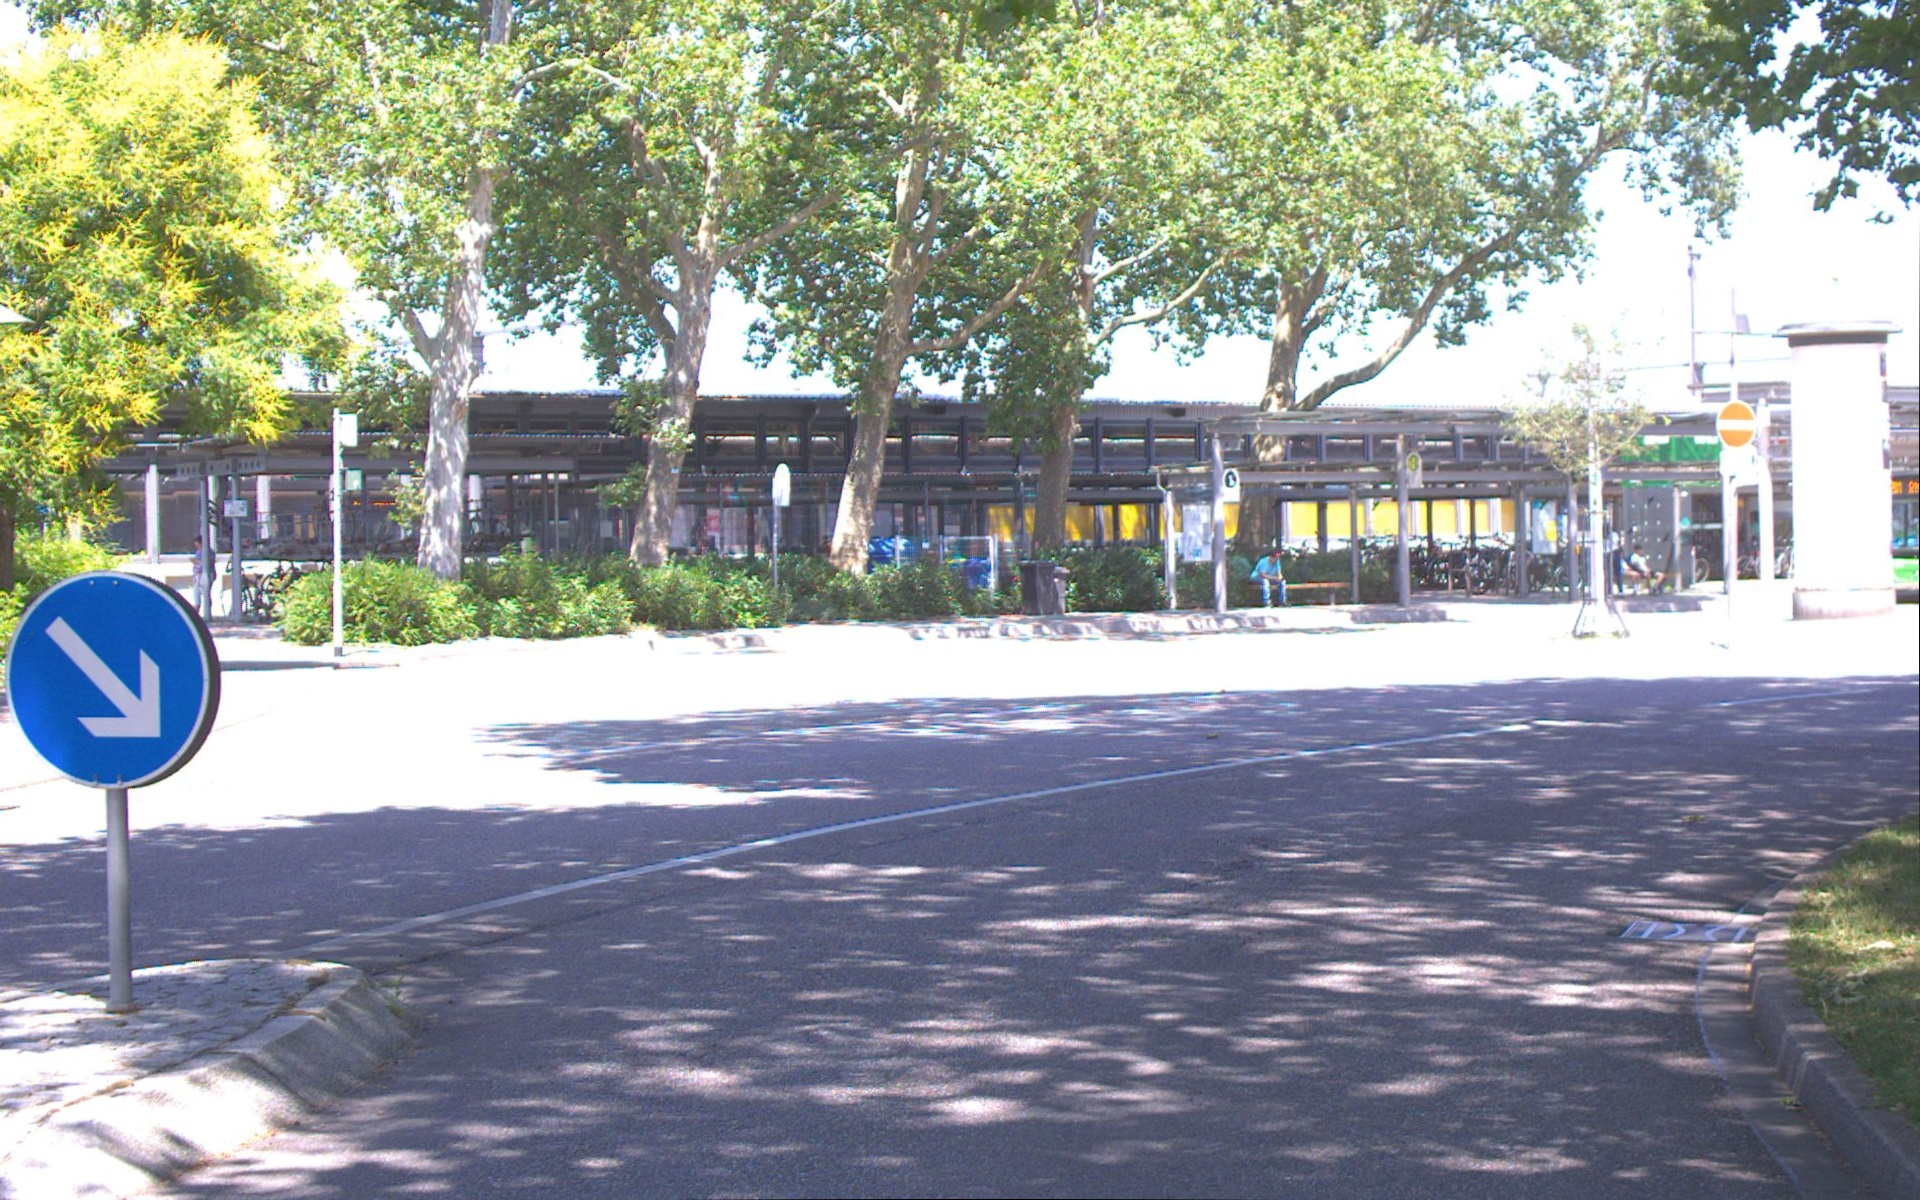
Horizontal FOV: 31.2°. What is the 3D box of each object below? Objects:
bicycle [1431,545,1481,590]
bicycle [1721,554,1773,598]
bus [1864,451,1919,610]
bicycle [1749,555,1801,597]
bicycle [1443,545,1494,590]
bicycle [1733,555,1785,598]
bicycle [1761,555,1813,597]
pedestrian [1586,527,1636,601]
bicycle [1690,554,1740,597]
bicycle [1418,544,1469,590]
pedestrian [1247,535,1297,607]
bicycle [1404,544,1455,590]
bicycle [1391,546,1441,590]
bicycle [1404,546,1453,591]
[{"bbox_3d":[12.154,-0.797,84.251,0.385,1.090,1.385,1,-1,-34],"label":"bicycle"},{"bbox_3d":[20.164,-0.613,88.091,0.366,1.096,1.405,-2,1,-34],"label":"bicycle"},{"bbox_3d":[25.901,-1.671,80.015,12.185,3.514,2.169,-2,1,-36],"label":"bus"},{"bbox_3d":[21.036,-0.618,88.703,0.385,1.090,1.385,-2,1,-34],"label":"bicycle"},{"bbox_3d":[12.490,-0.794,84.495,0.385,1.090,1.385,1,-1,-34],"label":"bicycle"},{"bbox_3d":[20.536,-0.608,88.369,0.385,1.090,1.385,-2,1,-34],"label":"bicycle"},{"bbox_3d":[21.393,-0.617,88.952,0.385,1.090,1.385,-2,1,-34],"label":"bicycle"},{"bbox_3d":[14.488,-0.797,76.502,0.821,1.611,0.767,0,2,35],"label":"pedestrian"},{"bbox_3d":[19.783,-0.641,90.083,0.385,1.090,1.385,-2,1,-33],"label":"bicycle"},{"bbox_3d":[11.806,-0.800,84.041,0.385,1.090,1.385,1,-1,-35],"label":"bicycle"},{"bbox_3d":[6.430,-0.601,70.803,0.819,1.458,0.607,-2,1,-39],"label":"pedestrian"},{"bbox_3d":[11.432,-0.803,83.791,0.385,1.090,1.385,1,-1,-36],"label":"bicycle"},{"bbox_3d":[11.329,-0.791,85.433,0.385,1.090,1.385,1,-1,-34],"label":"bicycle"},{"bbox_3d":[11.669,-0.788,85.691,0.385,1.090,1.385,1,-1,-34],"label":"bicycle"}]
